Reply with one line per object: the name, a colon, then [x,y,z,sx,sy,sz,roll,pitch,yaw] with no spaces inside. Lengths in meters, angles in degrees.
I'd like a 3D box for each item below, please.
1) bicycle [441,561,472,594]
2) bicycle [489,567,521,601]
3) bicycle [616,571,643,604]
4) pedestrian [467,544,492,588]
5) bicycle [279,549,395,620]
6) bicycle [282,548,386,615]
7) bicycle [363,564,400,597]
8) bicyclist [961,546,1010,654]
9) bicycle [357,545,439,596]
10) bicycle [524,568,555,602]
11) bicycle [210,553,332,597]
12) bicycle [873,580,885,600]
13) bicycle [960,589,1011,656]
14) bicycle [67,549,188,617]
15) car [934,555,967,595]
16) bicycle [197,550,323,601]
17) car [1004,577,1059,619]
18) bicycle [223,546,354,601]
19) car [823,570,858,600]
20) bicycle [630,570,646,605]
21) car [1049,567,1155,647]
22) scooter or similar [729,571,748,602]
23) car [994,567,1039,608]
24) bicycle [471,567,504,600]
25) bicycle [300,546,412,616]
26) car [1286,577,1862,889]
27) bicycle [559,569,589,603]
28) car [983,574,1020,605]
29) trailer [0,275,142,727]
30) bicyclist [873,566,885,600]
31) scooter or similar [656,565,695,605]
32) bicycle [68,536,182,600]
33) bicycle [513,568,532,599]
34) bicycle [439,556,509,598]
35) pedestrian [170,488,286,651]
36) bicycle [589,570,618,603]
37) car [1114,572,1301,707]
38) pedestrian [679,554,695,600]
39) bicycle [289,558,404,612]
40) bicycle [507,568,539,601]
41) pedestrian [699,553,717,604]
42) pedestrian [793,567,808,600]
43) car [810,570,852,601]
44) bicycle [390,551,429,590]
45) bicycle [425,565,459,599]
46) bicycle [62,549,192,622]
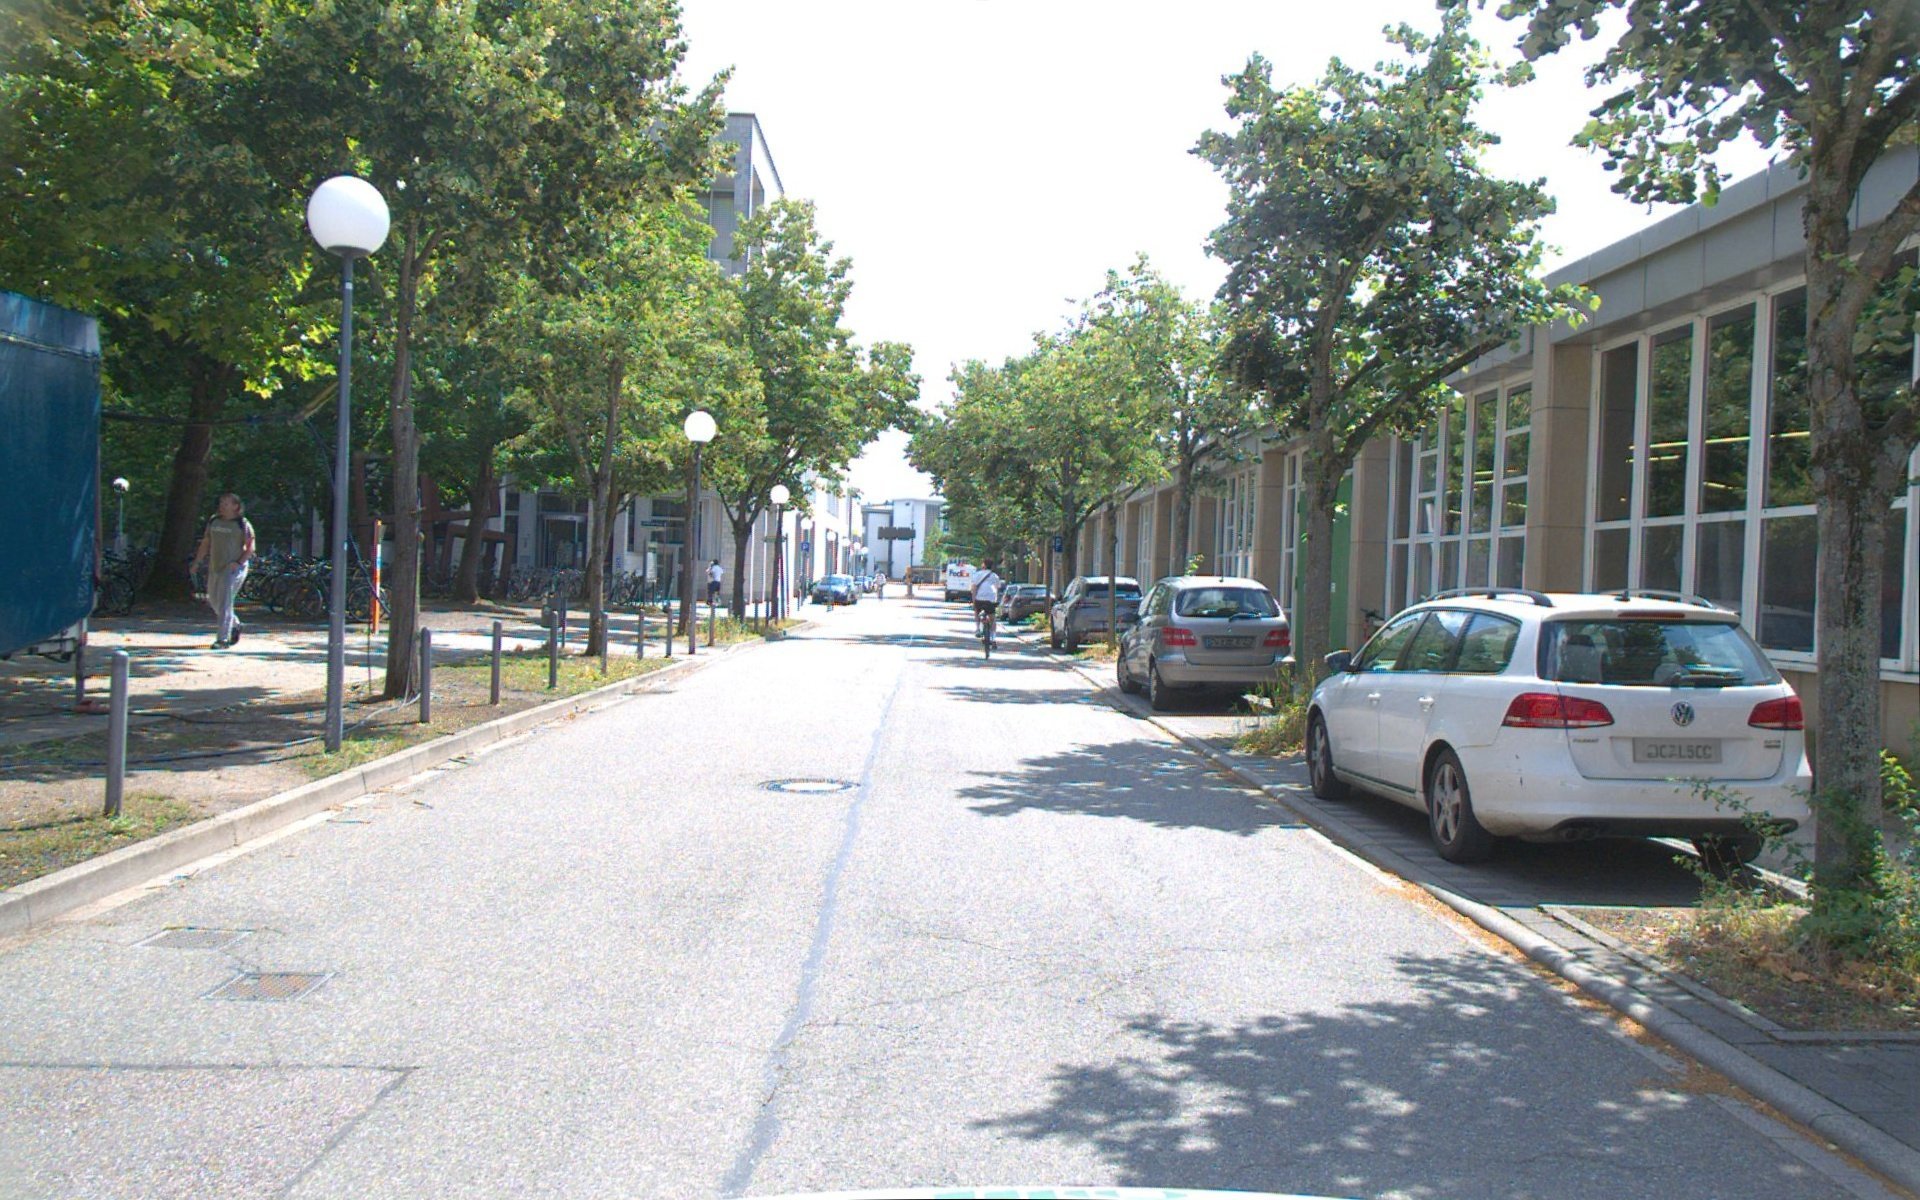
bicycle: [-16.688,-0.739,54.845,0.466,1.050,1.850,2,1,-1]
bicycle: [-15.771,-0.561,57.406,0.541,1.105,1.973,3,1,-1]
bicycle: [-11.473,-0.451,57.452,0.541,1.105,1.973,3,1,-1]
pedestrian: [-19.021,-1.332,65.458,0.619,1.690,0.695,2,1,13]
bicycle: [-12.055,-0.302,32.072,2.022,1.256,0.805,3,0,-19]
bicycle: [-11.564,-0.341,30.594,1.746,1.151,0.456,2,1,-19]
bicycle: [-20.003,-0.671,57.231,0.541,1.105,1.973,3,1,-1]
bicyclist: [0.498,-0.004,32.413,0.856,2.048,0.849,2,0,-2]
bicycle: [-17.135,-0.891,50.490,2.263,1.475,0.600,2,0,-35]
bicycle: [-14.623,-0.529,57.527,0.541,1.105,1.973,3,1,-1]
bicycle: [-17.411,-0.624,41.837,2.712,1.020,0.869,2,1,-44]
bicycle: [-4.873,-0.600,99.194,0.671,1.149,1.887,1,1,-3]
bicycle: [0.478,0.414,32.495,0.864,1.220,2.749,2,1,-1]
bicycle: [-14.698,-0.300,29.250,1.829,1.108,0.543,2,1,-23]
car: [-0.675,-1.683,113.205,2.042,2.583,4.315,3,1,-1]
bicycle: [-18.082,-0.624,42.789,2.861,1.198,0.868,2,1,-44]
car: [2.612,-0.108,60.946,1.744,1.502,4.461,0,1,-1]
bicycle: [-16.671,-0.648,41.146,2.886,1.241,0.868,2,1,-44]
car: [-6.423,-0.821,89.375,1.598,1.510,4.177,2,0,-1]
bicycle: [-9.981,-0.406,51.210,0.375,1.043,1.809,2,1,-13]
car: [3.114,0.147,37.174,1.786,1.693,4.581,0,0,-3]
scooter or similar: [-9.014,-0.543,67.348,0.445,1.245,1.549,2,1,3]
car: [2.239,-0.514,66.335,1.583,1.565,3.779,2,1,-1]
bicycle: [-16.413,-0.575,57.518,0.541,1.105,1.973,3,1,-1]
bicycle: [-12.110,-0.381,33.230,2.023,1.256,0.805,4,0,-19]
car: [3.475,0.622,10.430,1.691,1.492,4.670,1,1,-3]
bicycle: [-13.504,-0.494,57.893,0.541,1.105,1.973,3,1,-1]
car: [2.195,-0.572,88.902,1.820,1.601,4.000,1,1,-1]
trailer: [-7.852,-0.707,10.027,2.642,3.079,6.265,3,1,-1]
bicyclist: [-4.874,-1.038,99.239,0.697,2.049,1.018,0,1,-3]
scooter or similar: [-8.859,-0.449,51.487,0.333,1.196,1.324,3,1,33]
bicycle: [-17.541,-0.663,34.783,2.038,1.256,0.632,2,1,-37]
bicycle: [-14.007,-0.536,52.939,0.467,0.982,1.652,2,1,-12]
bicycle: [-15.215,-0.722,51.794,1.996,1.275,0.581,0,1,-34]
pedestrian: [-9.403,-0.389,21.276,0.898,1.988,0.893,4,0,9]
bicycle: [-12.408,-0.471,57.623,0.541,1.105,1.973,3,1,-1]
car: [3.152,0.441,21.818,1.670,1.601,4.138,1,1,-3]
pedestrian: [-10.869,-0.903,65.736,0.436,1.806,0.446,2,1,-32]
bicycle: [-12.712,-0.313,34.269,2.125,1.026,0.671,2,1,-31]
bicycle: [-15.176,-0.545,57.448,0.541,1.105,1.973,3,1,-1]
pedestrian: [-9.936,-0.860,65.085,0.408,1.975,0.656,2,1,-30]
pedestrian: [-8.540,-0.861,88.424,0.638,1.731,0.887,2,0,-12]
car: [-6.520,-0.730,84.057,1.730,1.452,4.235,2,0,0]
bicycle: [-18.931,-1.014,56.879,0.514,1.274,2.382,1,1,0]
bicycle: [-17.921,-0.618,57.245,0.541,1.105,1.973,3,1,-1]
bicycle: [-13.657,-0.229,27.156,1.829,1.108,0.543,2,1,-23]
